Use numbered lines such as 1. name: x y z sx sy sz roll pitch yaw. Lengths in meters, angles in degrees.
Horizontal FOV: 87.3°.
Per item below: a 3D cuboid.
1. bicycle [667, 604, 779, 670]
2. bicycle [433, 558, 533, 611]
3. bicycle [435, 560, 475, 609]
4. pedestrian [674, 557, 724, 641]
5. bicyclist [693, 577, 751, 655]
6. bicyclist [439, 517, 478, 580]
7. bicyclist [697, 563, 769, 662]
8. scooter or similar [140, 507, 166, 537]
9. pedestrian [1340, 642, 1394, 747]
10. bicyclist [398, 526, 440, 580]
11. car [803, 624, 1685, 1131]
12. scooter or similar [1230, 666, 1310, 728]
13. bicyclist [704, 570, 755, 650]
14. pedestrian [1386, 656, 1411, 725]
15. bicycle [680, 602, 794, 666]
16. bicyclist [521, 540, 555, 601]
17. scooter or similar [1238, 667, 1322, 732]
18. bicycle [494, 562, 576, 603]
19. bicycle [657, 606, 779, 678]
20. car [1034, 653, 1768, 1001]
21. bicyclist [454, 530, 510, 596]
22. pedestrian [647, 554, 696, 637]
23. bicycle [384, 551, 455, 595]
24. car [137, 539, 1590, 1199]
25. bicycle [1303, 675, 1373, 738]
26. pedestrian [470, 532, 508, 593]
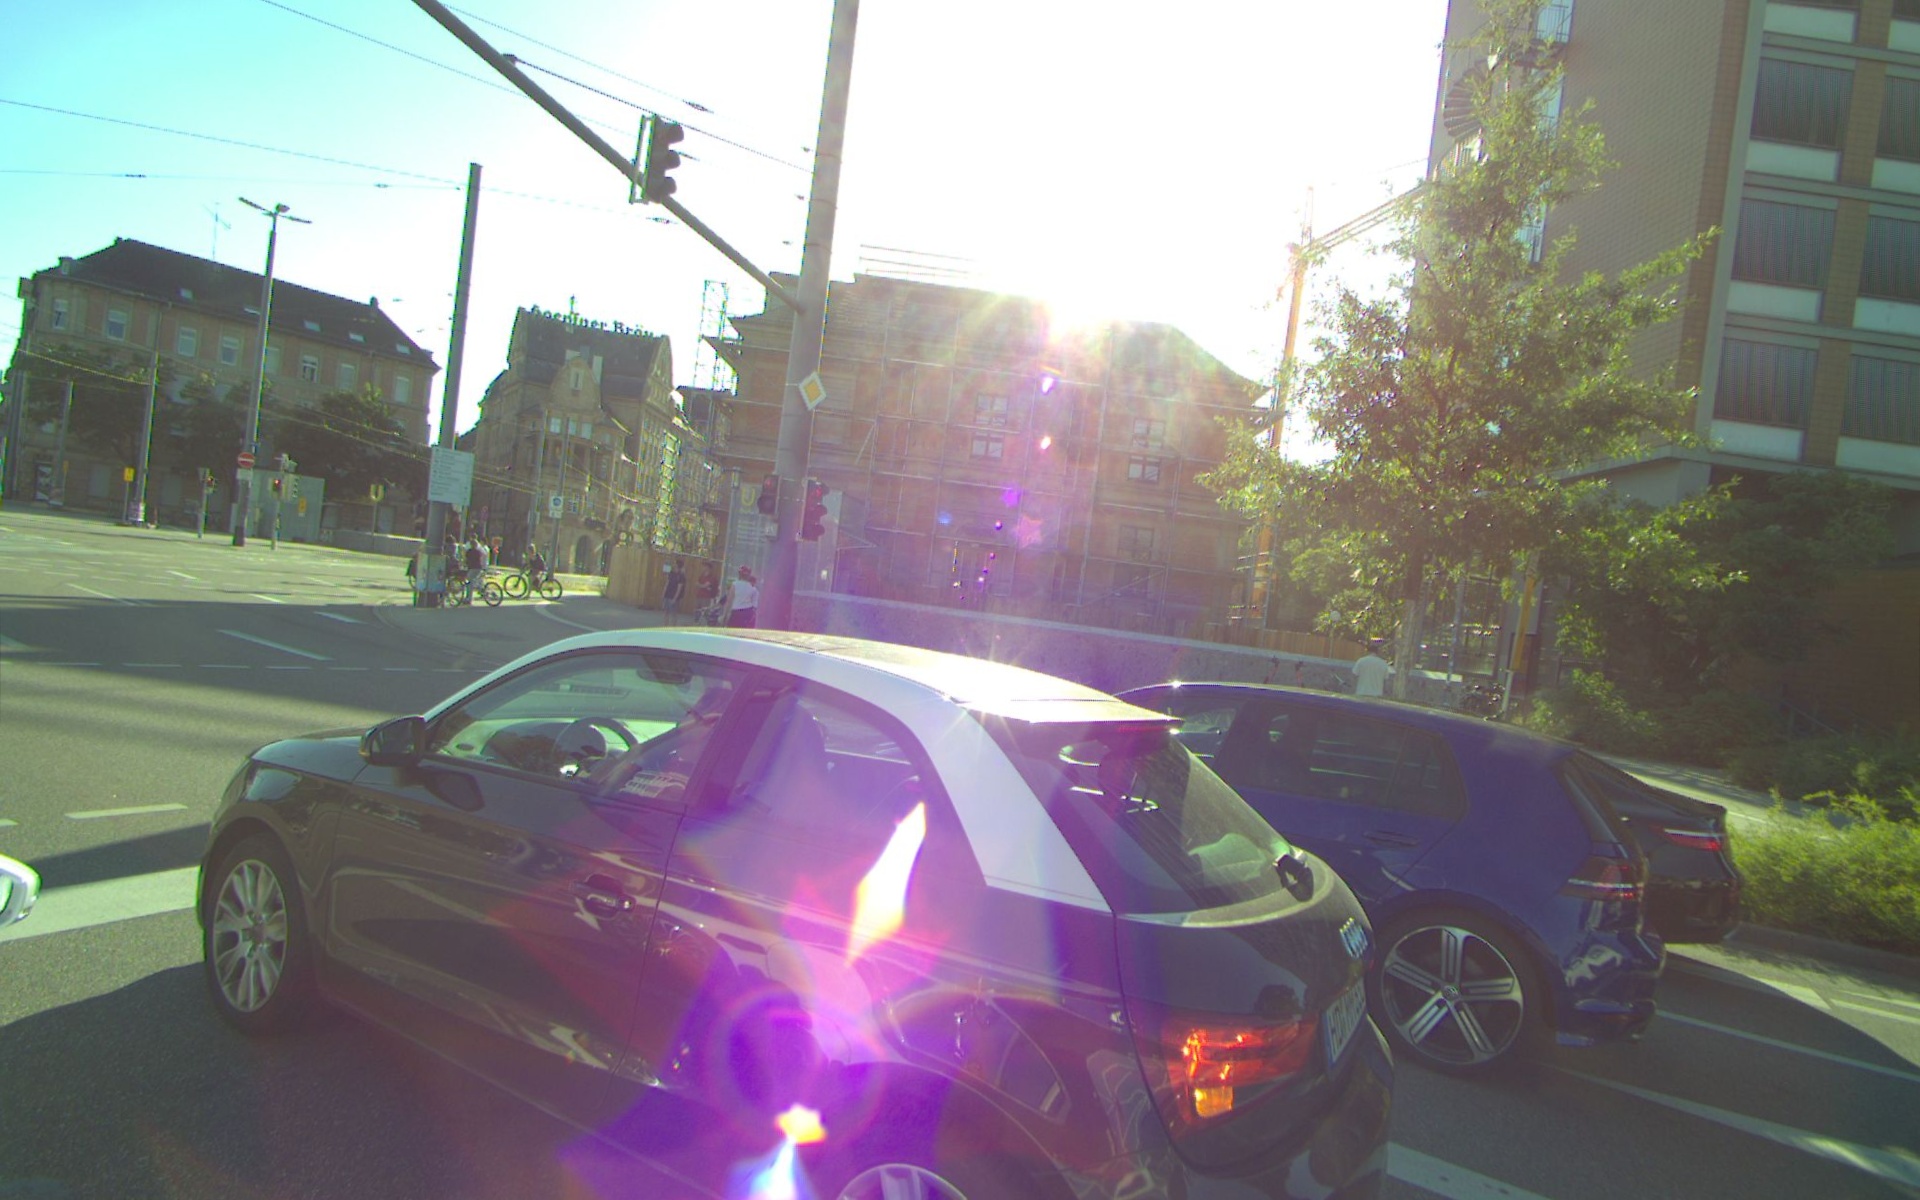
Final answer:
1. bicycle: -4.384 0.676 18.585 1.999 0.976 0.659 6 2 27
2. bicycle: -12.572 -0.409 26.523 2.276 1.061 0.702 7 -1 8
3. bicycle: -12.655 -0.408 25.177 0.693 1.061 2.303 9 -1 -29
4. pedestrian: -6.003 -0.020 23.161 0.672 1.828 0.672 7 -1 11
5. bicyclist: -4.399 0.296 18.608 0.662 1.330 0.617 7 -1 27
6. bicyclist: -12.588 -1.278 25.241 0.702 1.456 0.940 8 -1 -29
7. bicyclist: -3.880 0.215 17.224 0.781 1.571 0.668 7 -1 27
8. scooter or similar: -42.008 -4.063 52.354 0.784 1.392 1.885 8 -2 -44
9. pedestrian: 6.852 1.568 16.934 0.592 1.662 0.677 7 3 29
10. bicyclist: -16.877 -1.466 31.368 0.930 1.575 0.516 7 -1 24
11. car: 1.274 1.100 5.343 3.934 1.420 1.627 6 -2 32
12. scooter or similar: 5.984 1.865 19.453 1.346 1.007 0.343 7 -1 13
13. bicyclist: -4.526 0.212 19.800 0.661 1.471 0.618 7 -1 3
14. pedestrian: 11.466 2.366 26.329 0.369 1.752 0.444 7 -1 17
15. bicycle: -4.375 0.658 19.789 1.997 0.976 0.660 7 2 5
16. bicyclist: -13.307 -0.928 31.738 0.785 1.800 0.520 8 -1 -23
17. scooter or similar: 5.923 1.831 18.641 1.348 1.007 0.342 7 -1 25
18. bicycle: -13.381 -0.538 31.721 2.289 1.063 0.532 5 2 -25
19. bicycle: -4.170 0.724 17.305 1.999 0.974 0.660 6 -1 27
20. car: 2.979 1.412 7.510 4.436 1.420 1.726 6 -2 32
21. bicyclist: -12.600 -0.969 26.536 0.929 1.575 0.711 7 -1 8
22. pedestrian: -6.677 -0.104 23.318 0.672 1.830 0.672 7 2 11
23. bicycle: -16.814 -0.847 31.296 2.278 1.061 0.536 8 -1 24
24. car: -0.549 0.765 2.978 3.934 1.420 1.627 6 -2 32
25. bicycle: 6.995 1.957 18.650 0.352 1.015 1.149 8 -2 -29
26. pedestrian: -15.997 -1.280 34.175 0.678 1.945 0.649 7 -1 25
